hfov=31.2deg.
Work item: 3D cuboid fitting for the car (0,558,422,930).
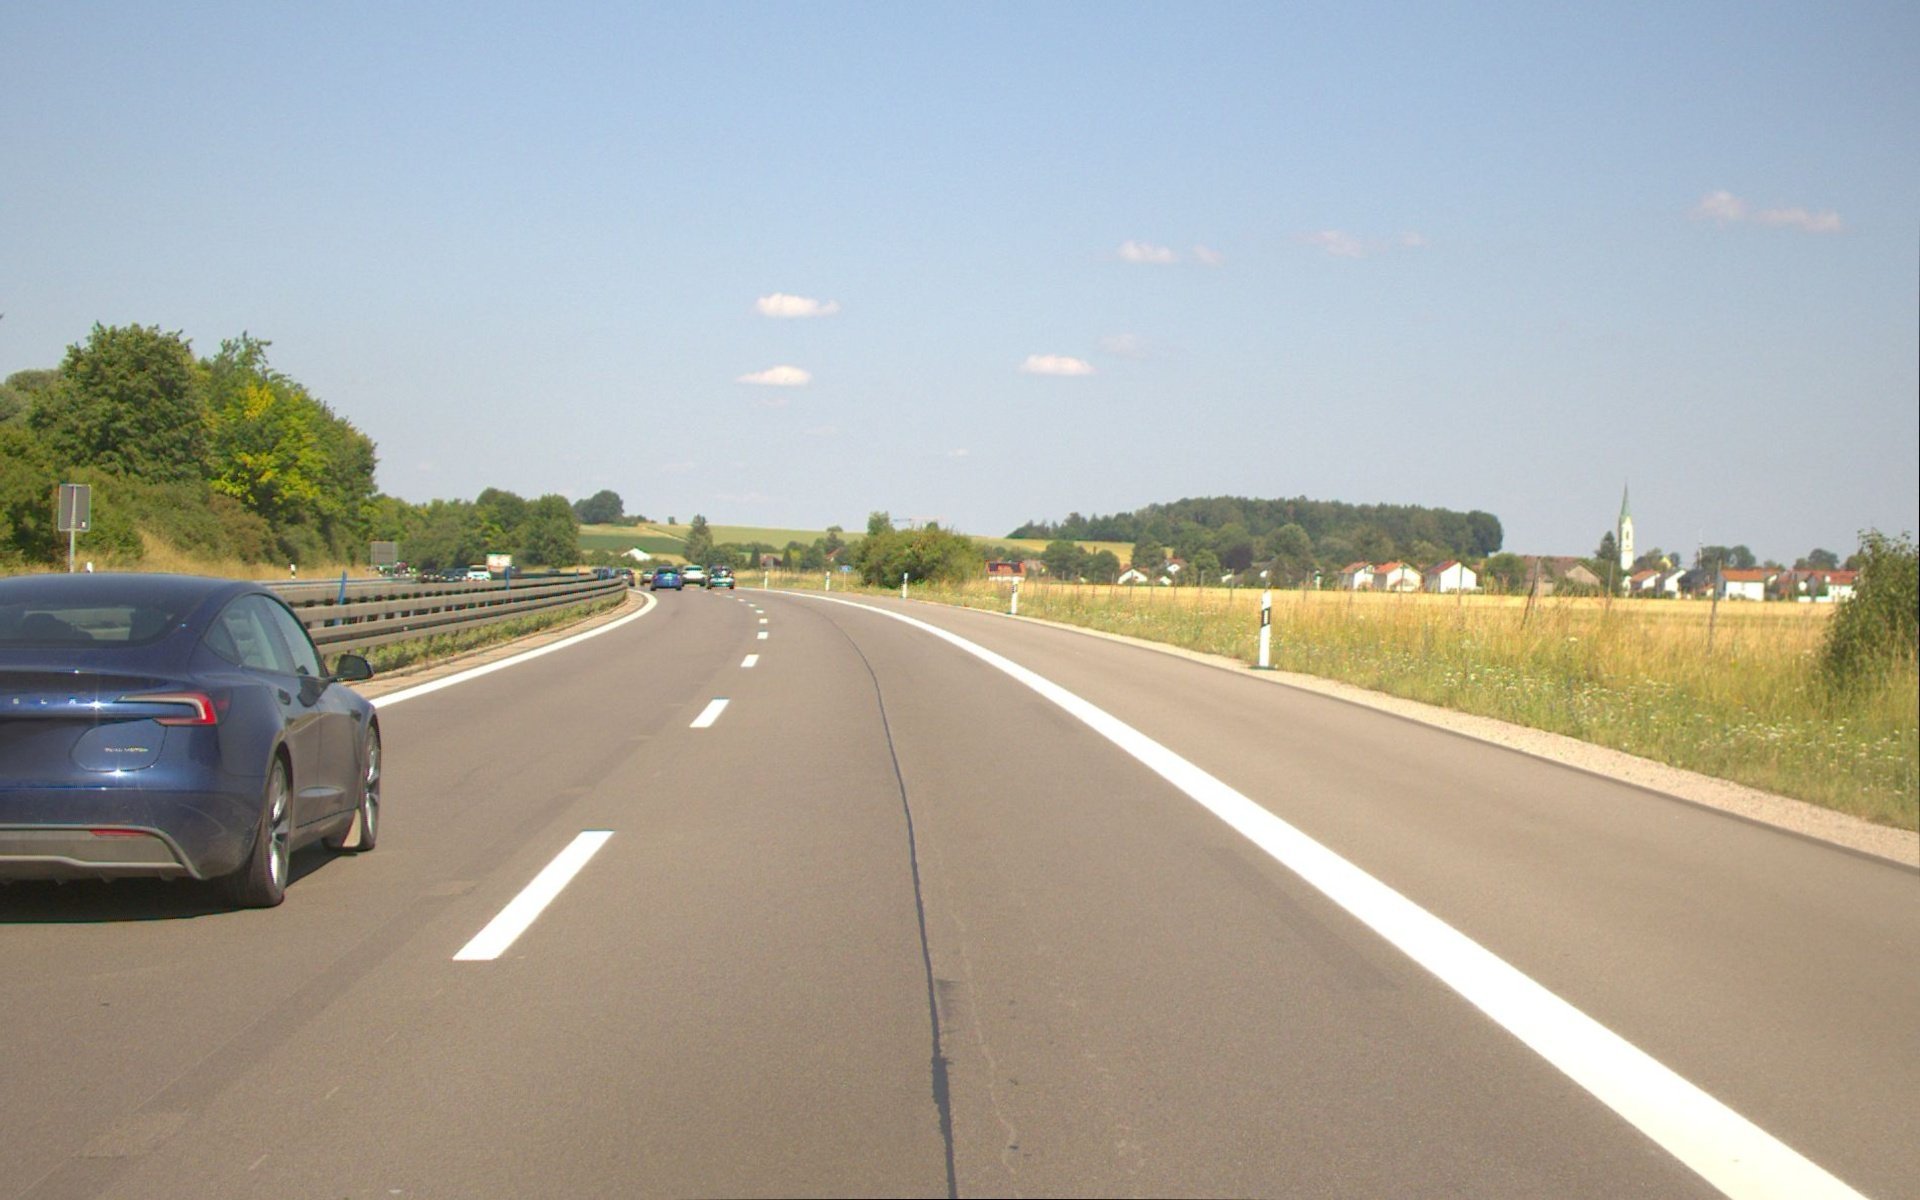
[{"bbox_3d":[-3.873,0.533,16.459,1.847,1.428,5.866,0,1,-2],"label":"car"}]

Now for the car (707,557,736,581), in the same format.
[{"bbox_3d":[-14.837,-1.929,213.919,1.675,1.448,3.592,0,0,-6],"label":"car"}]

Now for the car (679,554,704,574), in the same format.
[{"bbox_3d":[-19.879,-2.683,254.490,1.676,1.448,3.592,1,0,-3],"label":"car"}]

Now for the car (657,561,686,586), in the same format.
[{"bbox_3d":[-17.278,-1.609,206.034,1.676,1.448,3.592,0,0,-5],"label":"car"}]
